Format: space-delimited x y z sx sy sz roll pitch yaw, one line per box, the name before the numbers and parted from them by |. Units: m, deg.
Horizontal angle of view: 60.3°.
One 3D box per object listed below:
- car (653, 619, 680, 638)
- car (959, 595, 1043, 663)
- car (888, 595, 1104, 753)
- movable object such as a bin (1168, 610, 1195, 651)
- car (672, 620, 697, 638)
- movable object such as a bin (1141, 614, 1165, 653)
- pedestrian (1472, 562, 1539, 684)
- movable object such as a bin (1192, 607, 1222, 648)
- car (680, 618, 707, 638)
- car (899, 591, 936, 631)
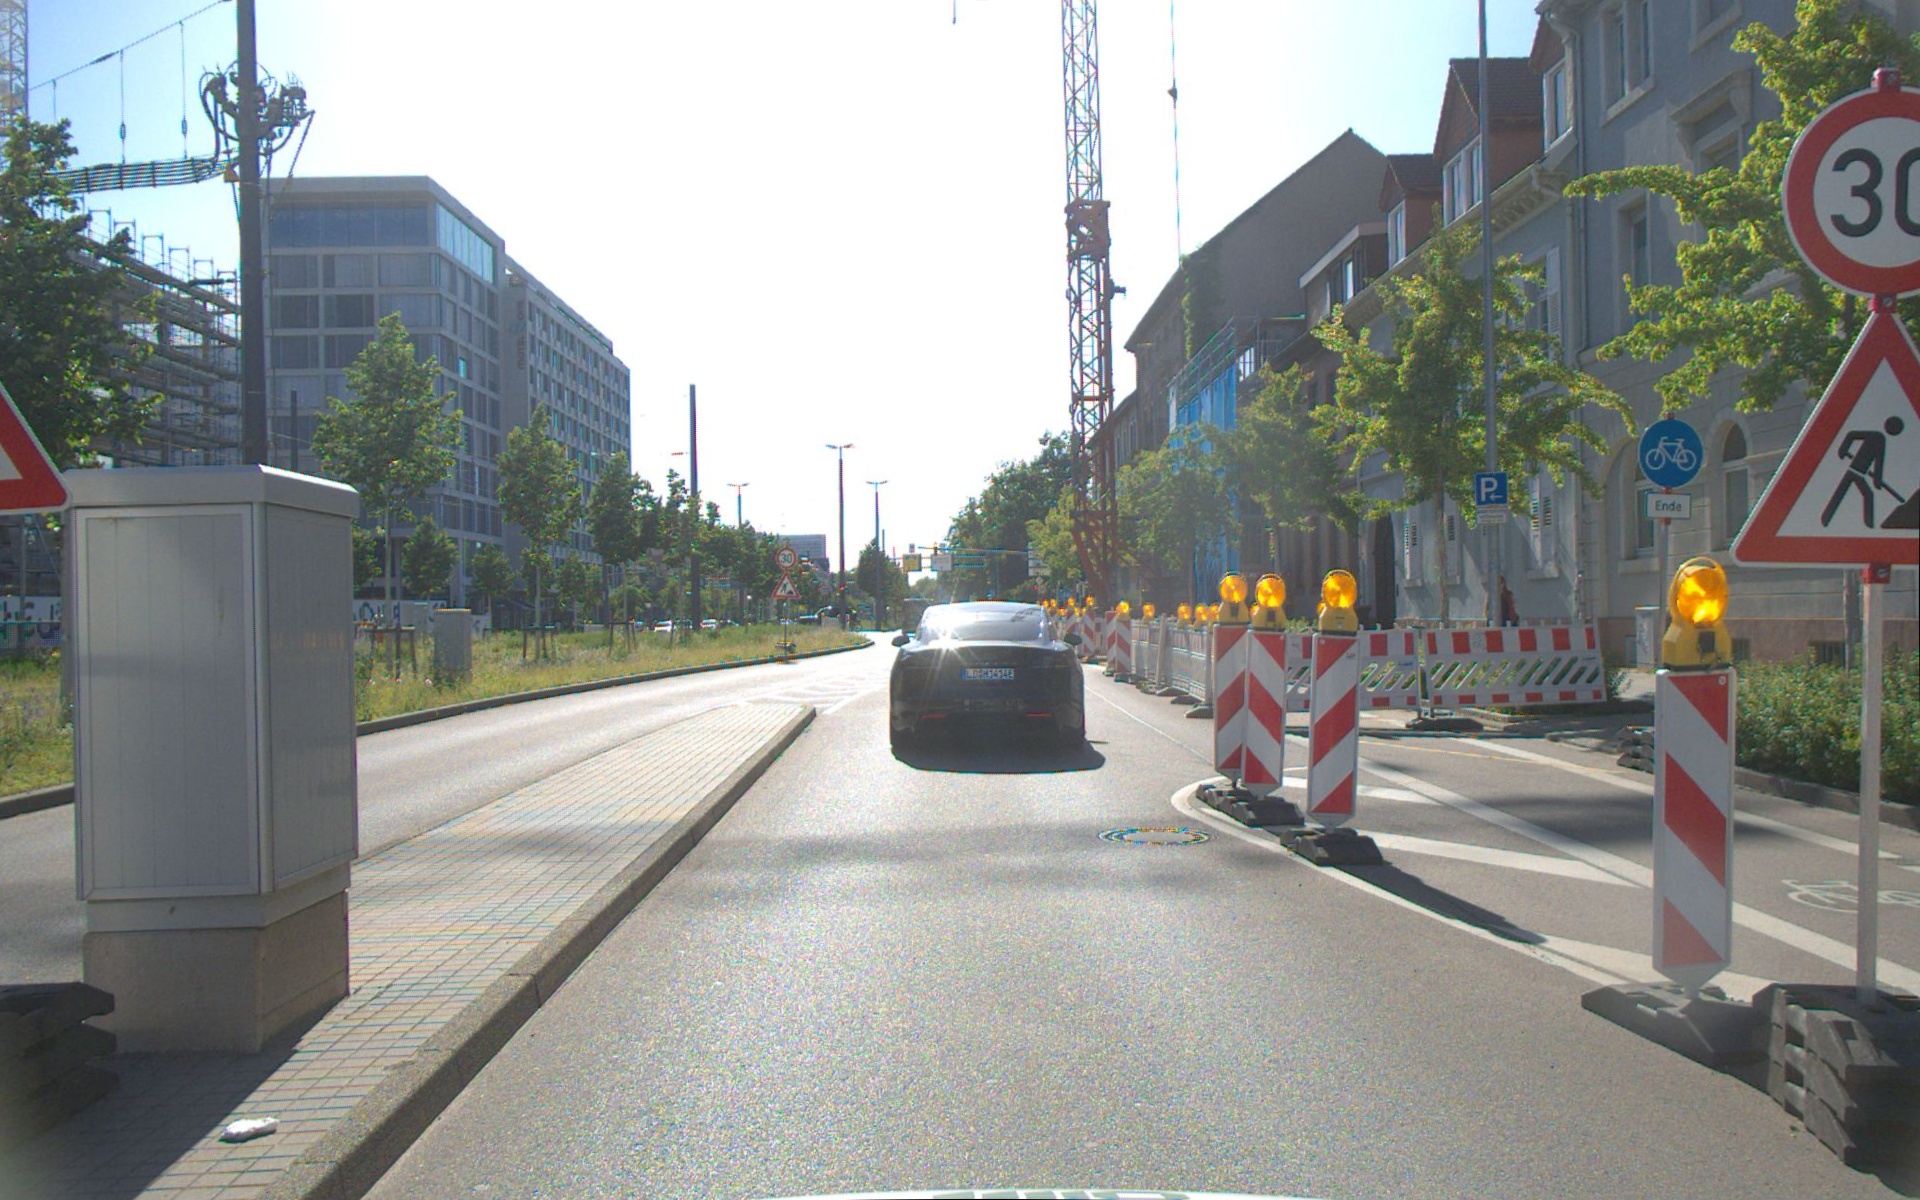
car | -27.096 2.643 152.831 1.754 1.680 3.999 -2 -1 0
car | 0.885 0.641 38.259 1.712 1.452 4.837 -1 0 -1
car | 0.296 0.703 17.693 2.009 1.469 4.523 0 0 -1
movable object such as a bin | 6.163 0.837 46.069 0.583 1.076 0.730 -5 0 0
car | -27.029 2.875 162.504 1.754 1.680 3.999 -2 -1 0
movable object such as a bin | 5.327 0.914 45.726 0.575 1.076 0.730 0 0 0
pedestrian | 8.915 0.376 27.050 0.778 1.962 0.768 0 0 -9
movable object such as a bin | 6.837 0.766 45.830 0.576 1.076 0.782 -6 0 -5
car | -24.346 2.552 151.129 1.754 1.680 3.999 -2 -1 0
car | -2.563 0.647 99.136 2.173 2.307 4.482 0 0 -2
